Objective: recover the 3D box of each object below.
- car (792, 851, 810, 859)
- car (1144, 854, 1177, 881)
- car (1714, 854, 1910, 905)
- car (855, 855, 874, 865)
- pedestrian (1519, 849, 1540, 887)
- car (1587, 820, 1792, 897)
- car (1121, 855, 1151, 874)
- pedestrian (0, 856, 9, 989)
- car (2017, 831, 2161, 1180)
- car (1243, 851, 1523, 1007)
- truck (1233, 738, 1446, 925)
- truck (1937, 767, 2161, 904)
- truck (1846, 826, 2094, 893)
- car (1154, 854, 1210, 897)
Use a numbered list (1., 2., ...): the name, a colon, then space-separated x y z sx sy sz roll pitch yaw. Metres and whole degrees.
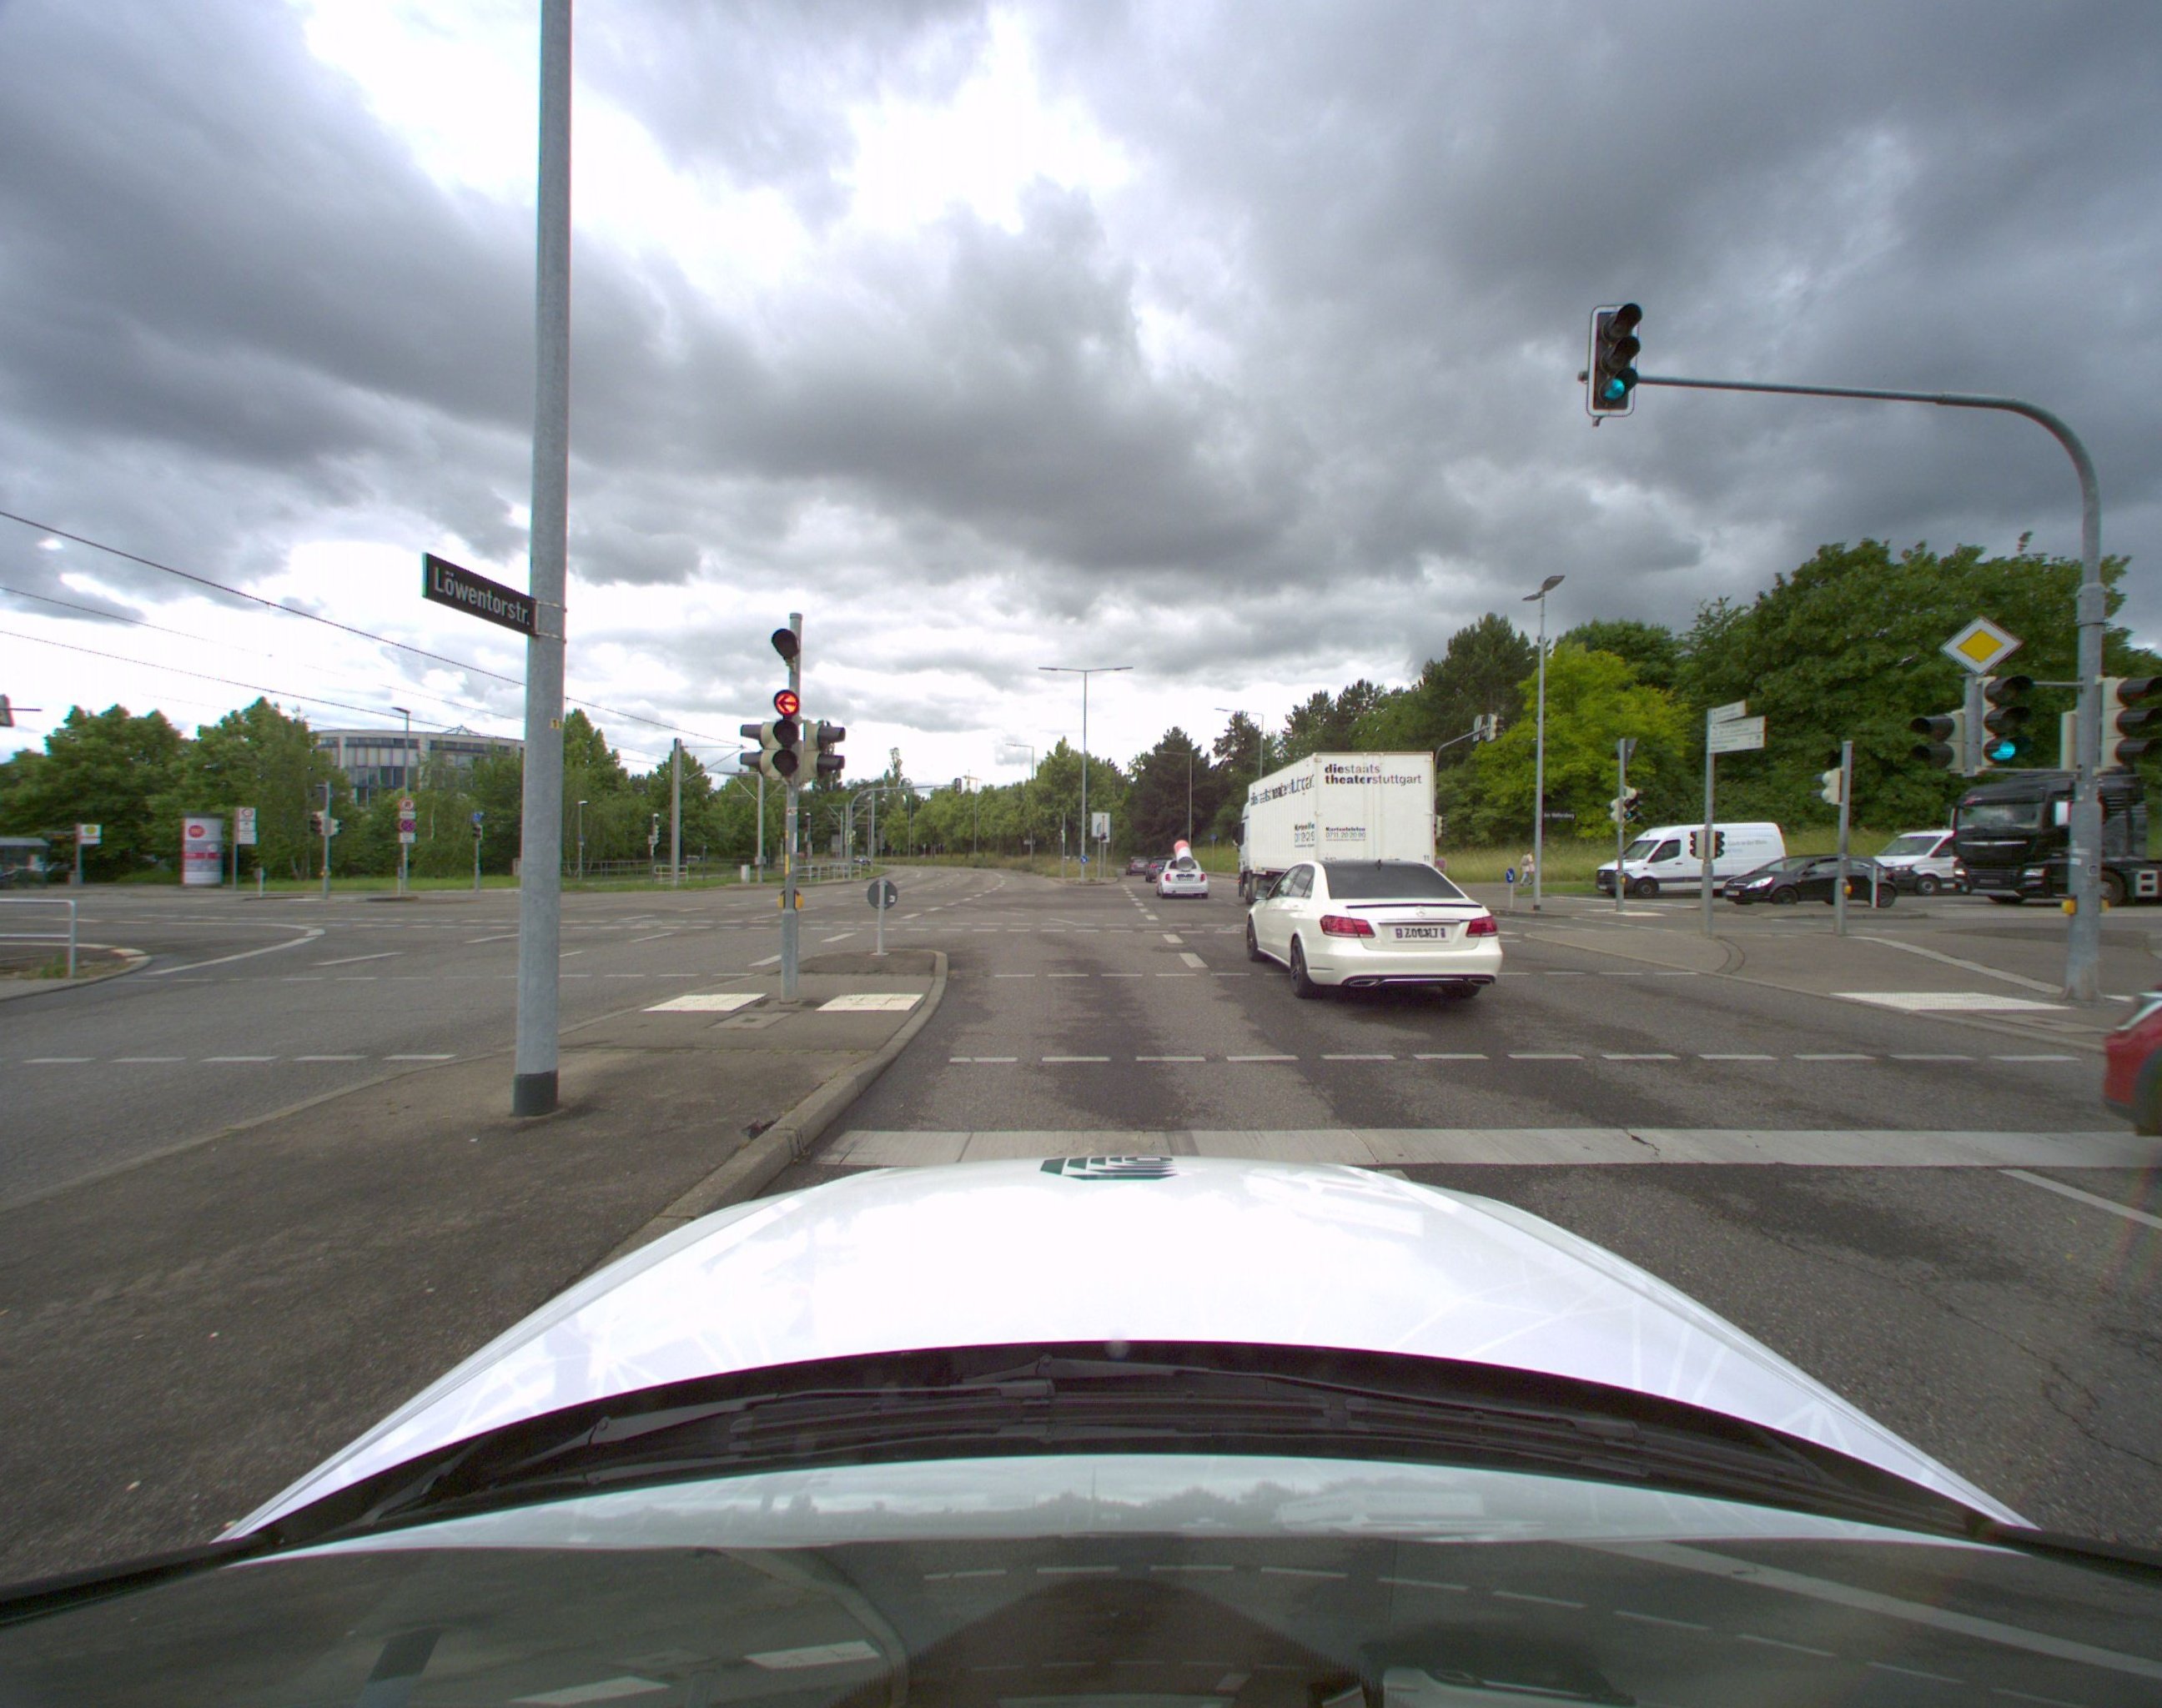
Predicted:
1. car: -59.651 0.203 173.410 3.837 1.603 1.801 -1 -1 36
2. car: 4.604 0.758 47.377 1.618 1.493 3.838 0 0 1
3. car: 20.267 0.697 22.714 3.859 1.338 1.698 0 -1 4
4. car: -34.976 0.914 131.385 1.808 1.587 3.957 0 -1 -35
5. pedestrian: 19.121 0.602 34.721 0.639 1.612 0.717 -1 -1 16
6. car: 21.814 0.163 29.392 5.780 2.630 2.002 0 -1 3
7. car: 4.565 0.880 67.653 1.745 1.508 4.037 0 0 -7
8. pedestrian: -12.822 0.793 9.123 0.632 1.536 0.719 0 -1 -2
9. car: 5.594 0.664 1.918 1.840 1.530 4.378 0 0 2
10. car: 3.184 0.701 9.595 1.793 1.412 4.318 0 -1 1
11. truck: 6.387 -0.510 22.222 2.793 3.903 10.184 0 0 1
12. truck: 27.945 -0.493 22.256 5.971 3.486 2.694 -1 -1 4
13. truck: 31.119 0.199 28.696 5.992 2.230 2.165 0 -1 5
14. car: 3.764 0.793 30.749 1.814 1.506 3.496 0 -1 2
